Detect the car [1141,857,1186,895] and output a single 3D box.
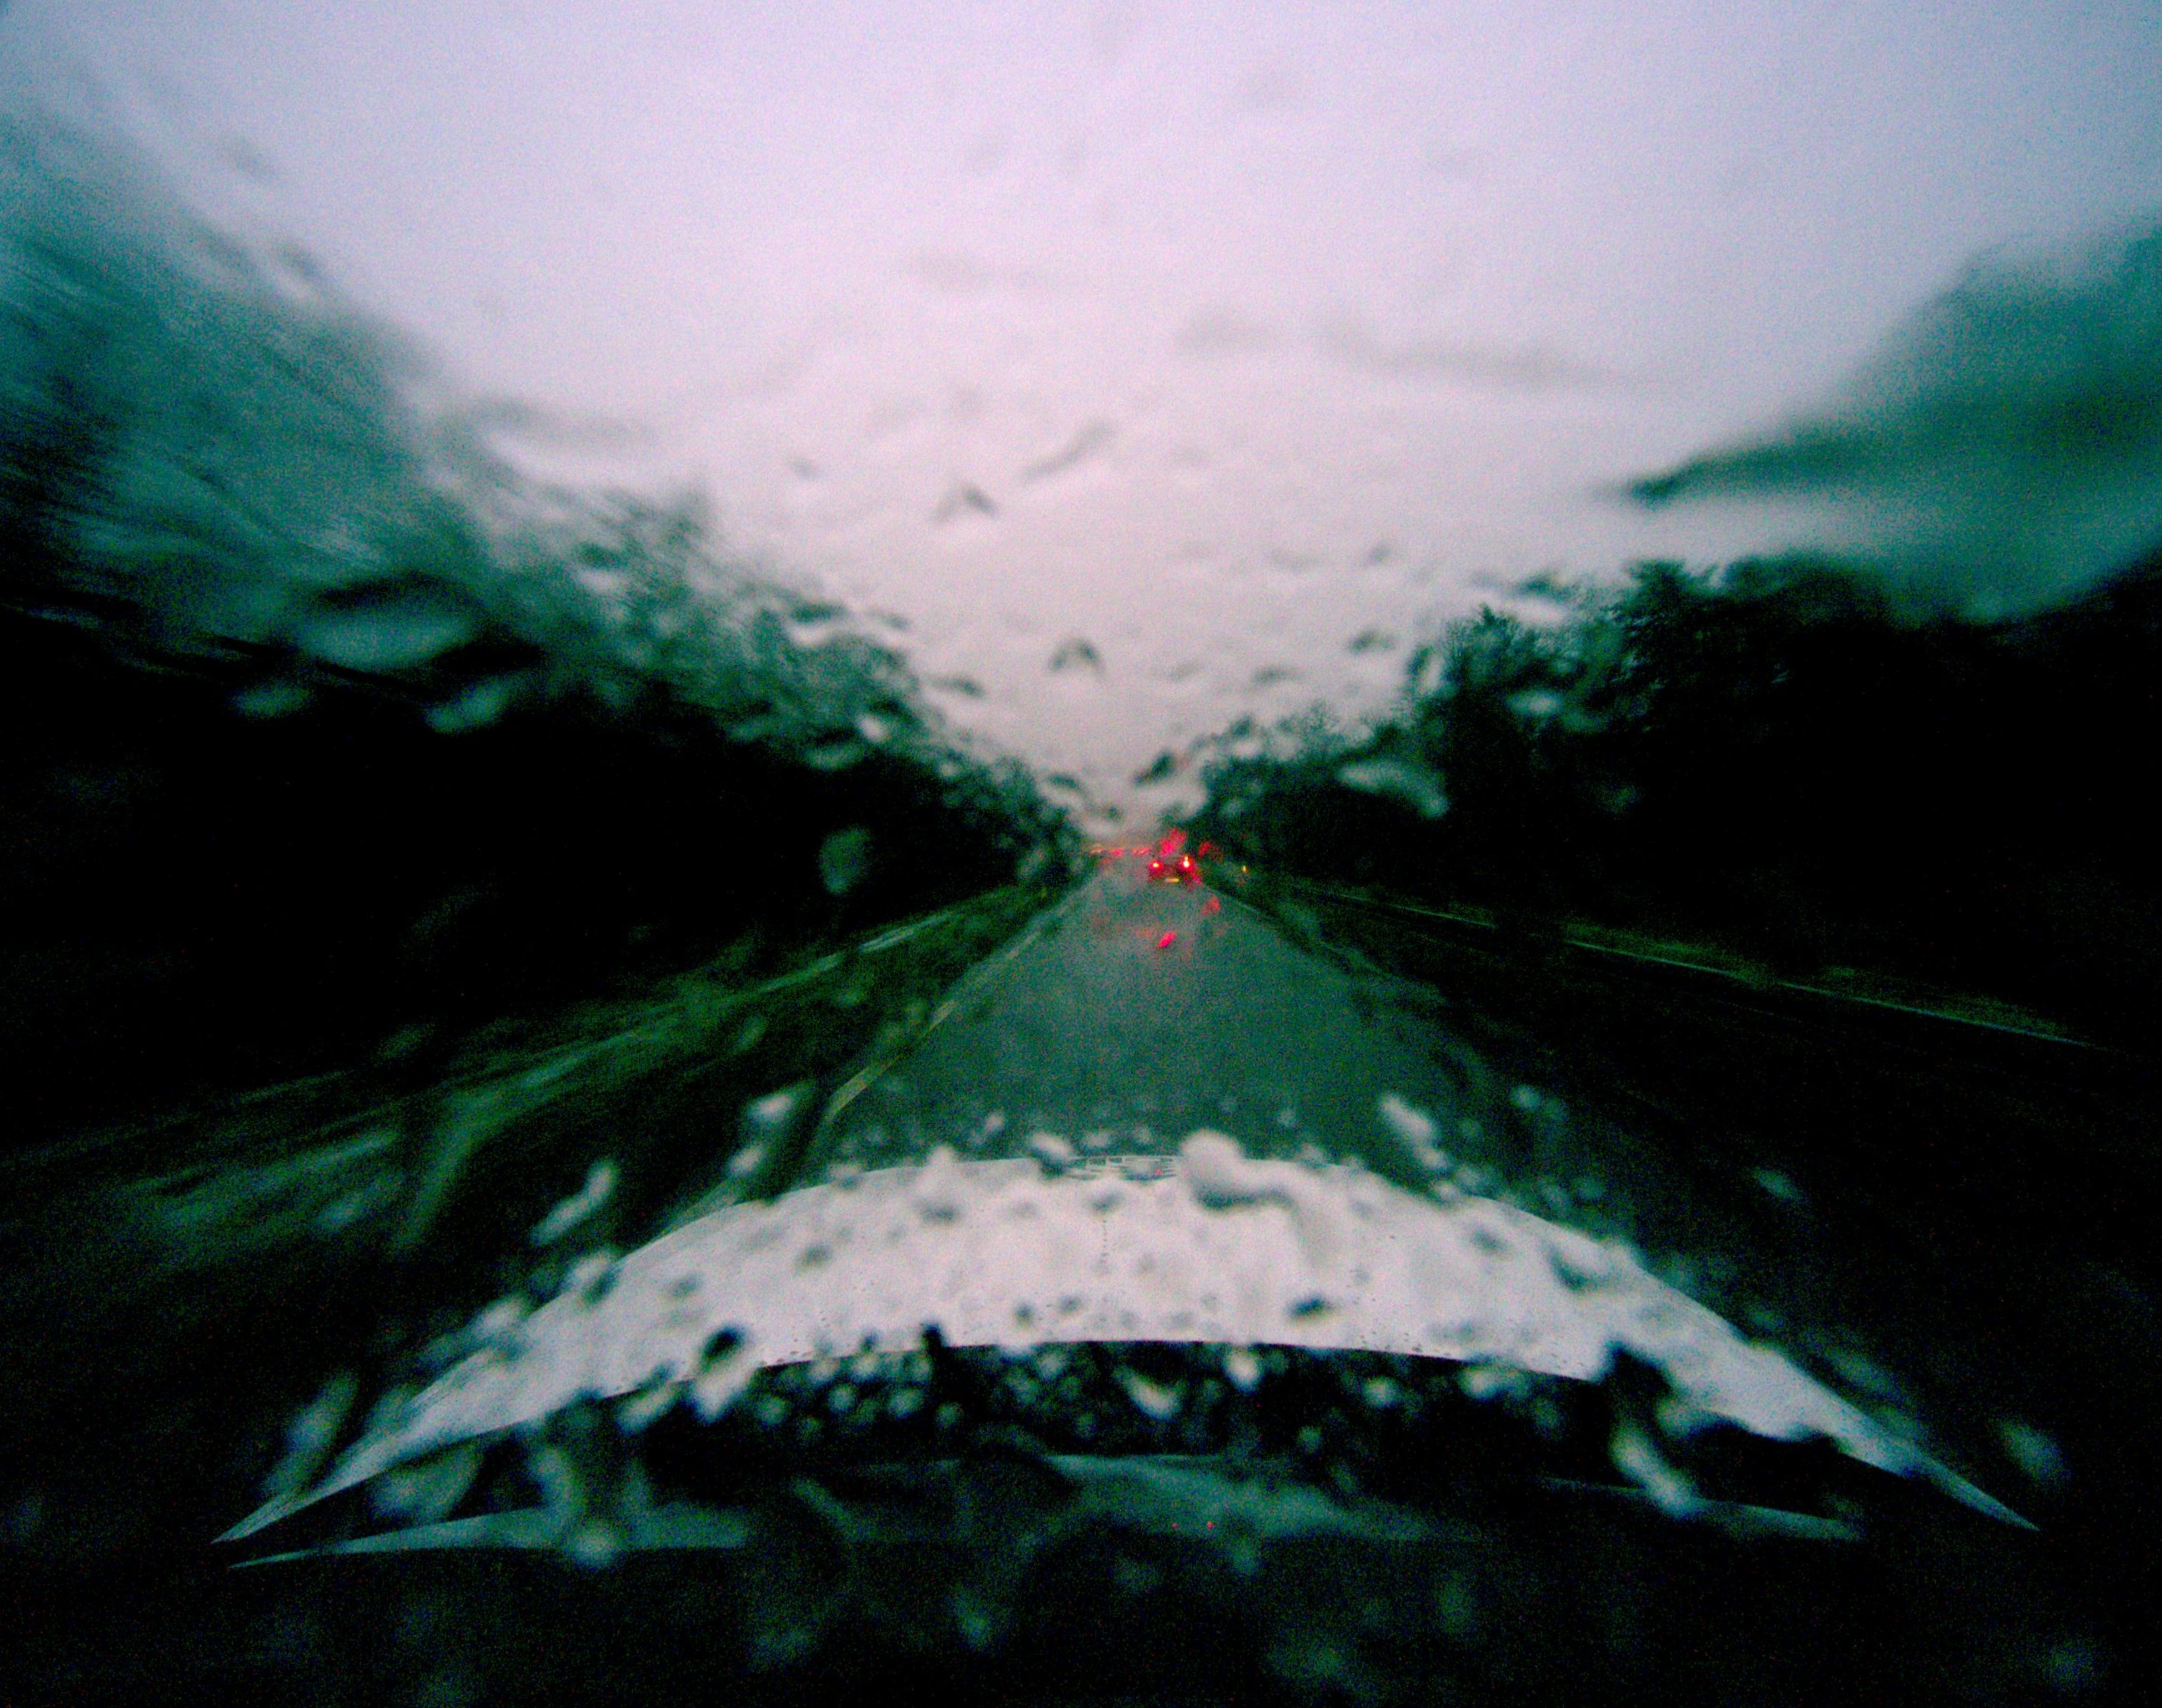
[{"bbox_3d":[3.395,0.865,33.009,1.722,1.429,3.773,-1,0,7],"label":"car"}]
